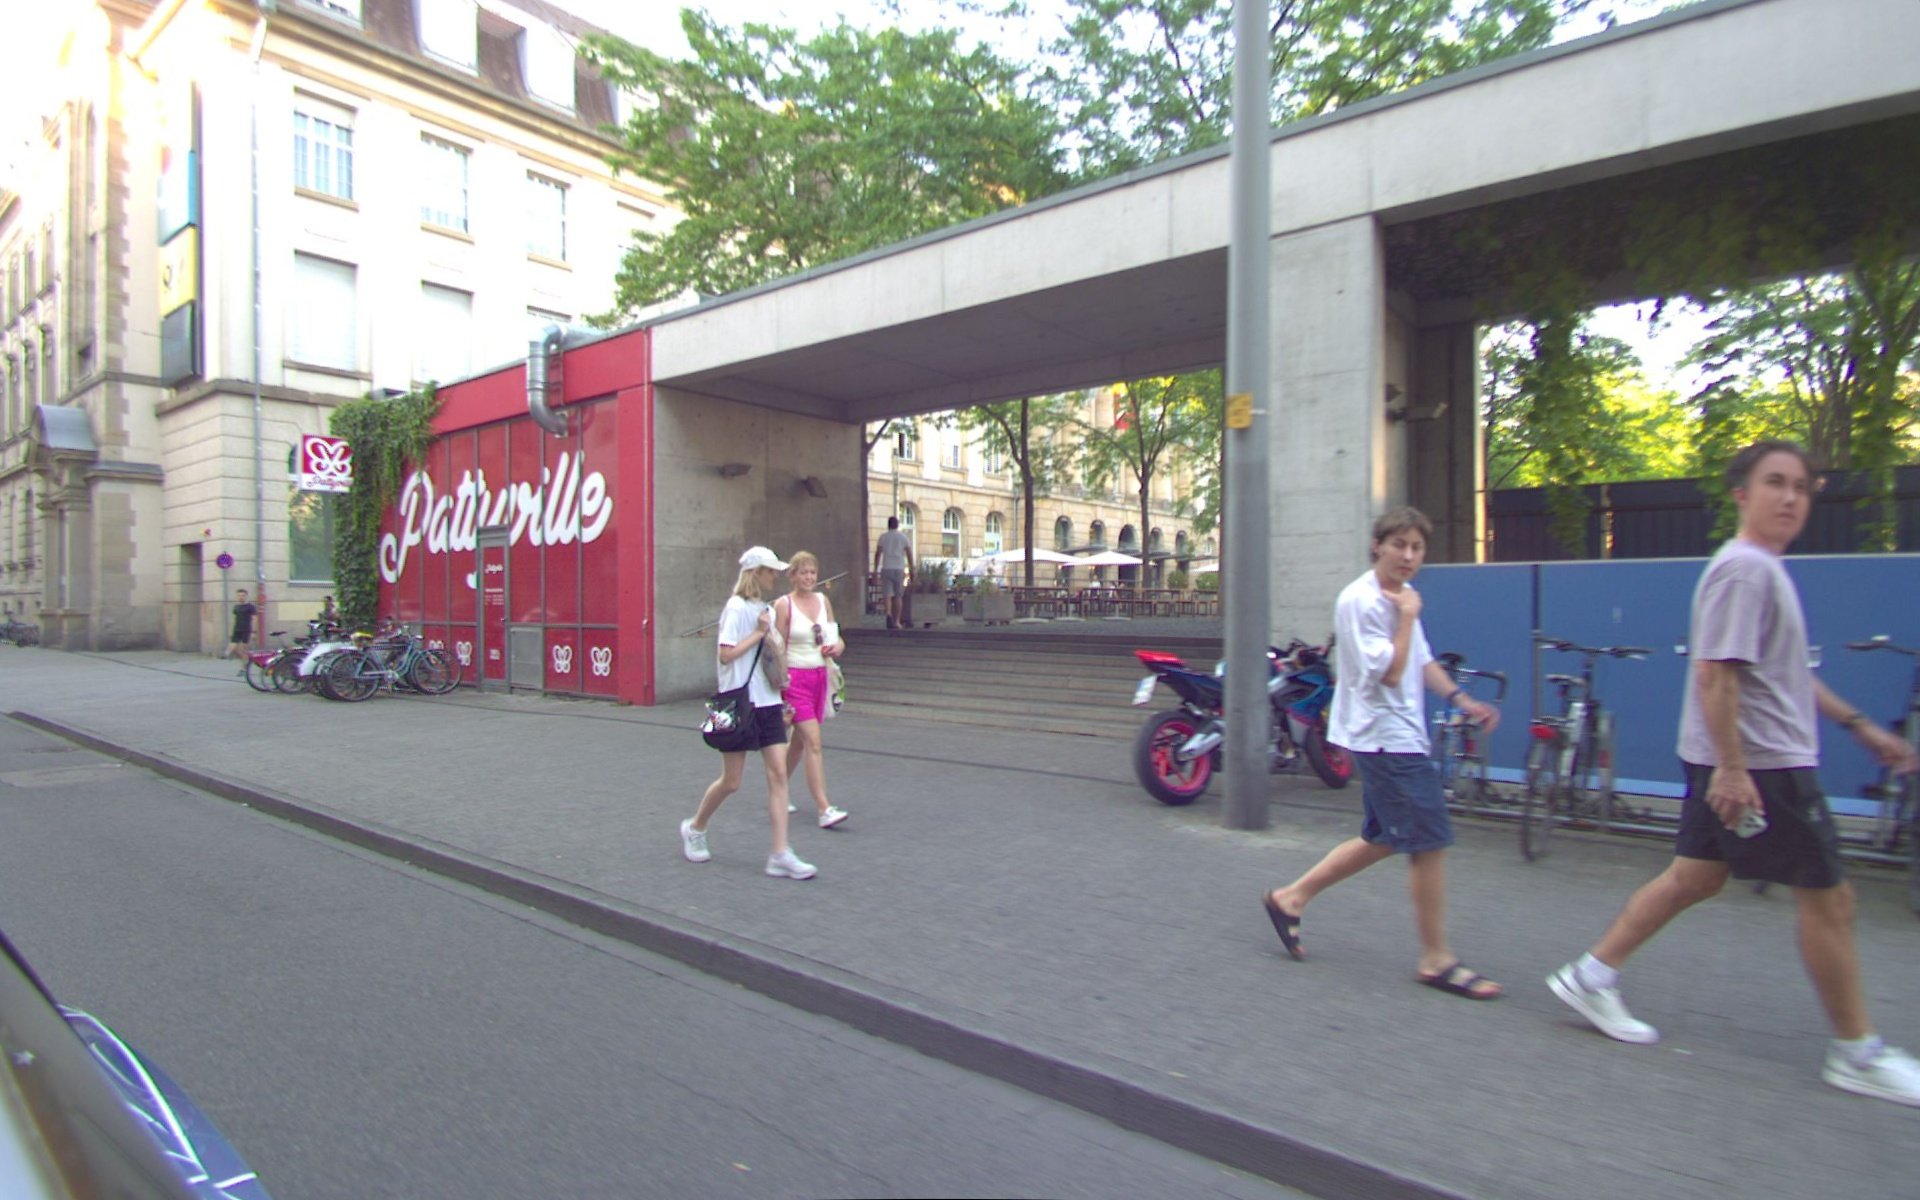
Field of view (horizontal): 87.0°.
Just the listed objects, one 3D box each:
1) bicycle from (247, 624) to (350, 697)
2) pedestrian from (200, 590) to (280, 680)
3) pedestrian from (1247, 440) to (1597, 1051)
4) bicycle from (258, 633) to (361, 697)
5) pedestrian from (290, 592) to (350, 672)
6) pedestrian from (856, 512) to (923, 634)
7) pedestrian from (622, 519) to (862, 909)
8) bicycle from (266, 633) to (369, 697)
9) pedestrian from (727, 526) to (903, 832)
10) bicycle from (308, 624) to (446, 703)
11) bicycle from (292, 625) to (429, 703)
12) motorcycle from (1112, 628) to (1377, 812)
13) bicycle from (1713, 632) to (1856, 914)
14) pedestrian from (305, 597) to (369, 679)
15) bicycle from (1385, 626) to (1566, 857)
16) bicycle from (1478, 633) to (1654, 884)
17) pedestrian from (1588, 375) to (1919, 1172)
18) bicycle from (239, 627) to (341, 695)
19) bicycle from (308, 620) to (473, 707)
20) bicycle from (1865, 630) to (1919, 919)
[{"bbox_3d":[-11.419,1.019,17.513,0.311,1.149,1.486,-1,1,30],"label":"bicycle"},{"bbox_3d":[-15.357,0.729,21.606,0.936,1.841,1.004,-1,0,12],"label":"pedestrian"},{"bbox_3d":[1.682,0.424,3.653,0.889,1.807,0.972,-1,1,41],"label":"pedestrian"},{"bbox_3d":[-11.134,1.091,17.357,0.311,0.986,1.486,-1,1,30],"label":"bicycle"},{"bbox_3d":[-14.223,0.694,22.506,0.701,1.740,0.910,-1,0,34],"label":"pedestrian"},{"bbox_3d":[-1.096,-0.423,15.881,0.933,1.841,0.832,-1,0,2],"label":"pedestrian"},{"bbox_3d":[-1.137,0.523,5.294,0.868,1.807,0.840,-1,1,41],"label":"pedestrian"},{"bbox_3d":[-10.880,1.085,17.179,0.311,0.963,1.486,-1,1,30],"label":"bicycle"},{"bbox_3d":[-0.925,0.460,6.503,0.736,1.807,0.801,-1,1,41],"label":"pedestrian"},{"bbox_3d":[-9.015,0.956,15.715,0.354,1.091,1.819,-1,1,44],"label":"bicycle"},{"bbox_3d":[-9.410,0.976,15.945,0.354,1.091,1.819,-1,1,44],"label":"bicycle"},{"bbox_3d":[1.974,0.774,6.976,1.797,1.077,0.535,-2,1,-23],"label":"motorcycle"},{"bbox_3d":[3.961,0.739,4.923,0.410,1.096,1.480,-1,1,35],"label":"bicycle"},{"bbox_3d":[-13.540,0.803,22.010,0.831,1.740,0.911,-1,0,31],"label":"pedestrian"},{"bbox_3d":[3.137,0.746,6.065,0.550,1.095,1.848,-1,1,40],"label":"bicycle"},{"bbox_3d":[3.271,0.762,5.407,1.475,1.096,0.436,-2,1,-45],"label":"bicycle"},{"bbox_3d":[2.429,0.407,2.917,0.889,1.897,0.972,-1,1,41],"label":"pedestrian"},{"bbox_3d":[-11.697,1.047,17.717,0.311,1.084,1.486,-1,1,30],"label":"bicycle"},{"bbox_3d":[-8.691,0.933,15.533,0.446,1.164,2.150,-1,1,44],"label":"bicycle"},{"bbox_3d":[4.385,0.729,4.453,0.410,1.120,1.480,-1,1,35],"label":"bicycle"}]
